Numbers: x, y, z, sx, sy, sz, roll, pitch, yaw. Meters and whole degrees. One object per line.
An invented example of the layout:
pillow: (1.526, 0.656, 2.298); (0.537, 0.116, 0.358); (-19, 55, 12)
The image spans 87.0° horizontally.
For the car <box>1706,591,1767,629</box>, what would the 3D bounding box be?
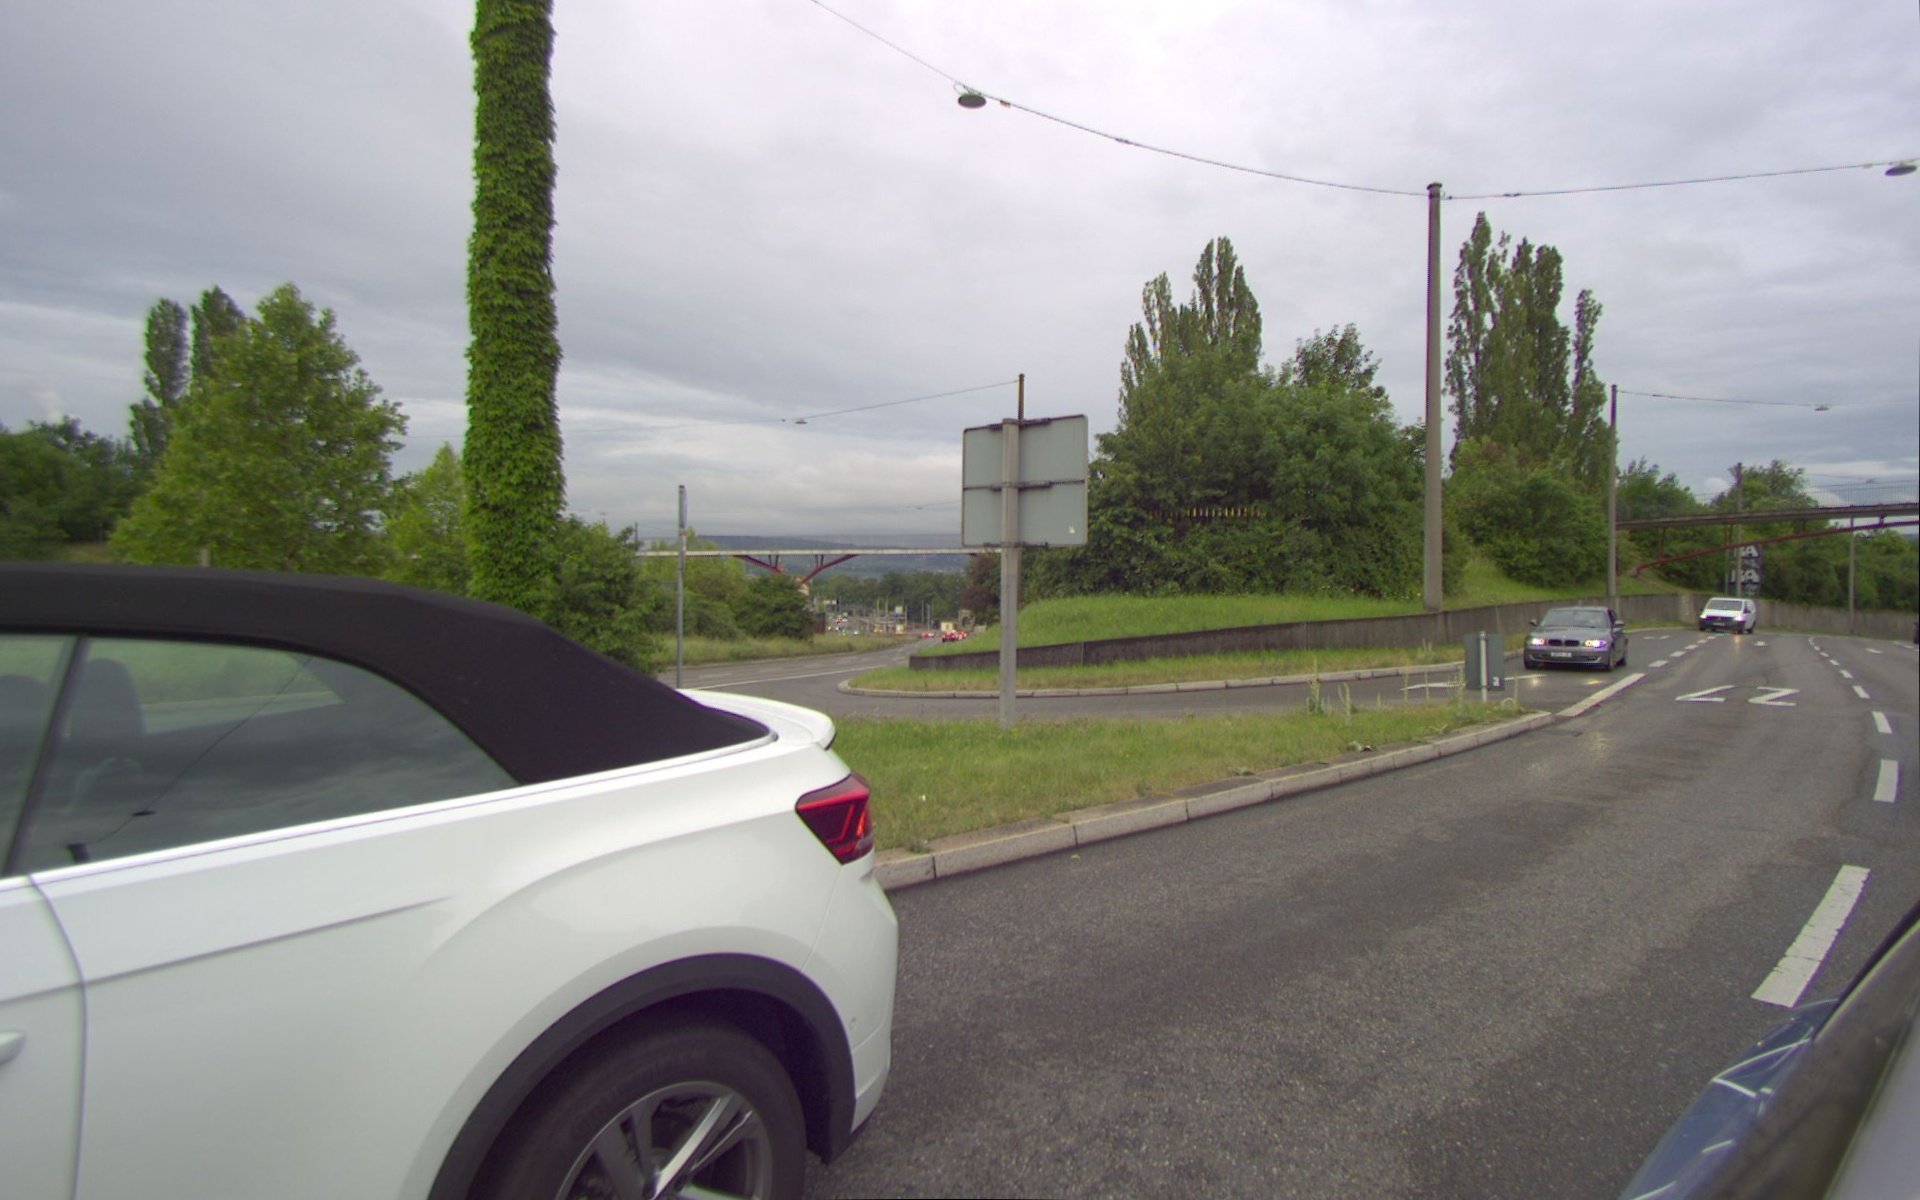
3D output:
car: (41.650, 0.490, 54.251); (1.995, 1.871, 4.746); (3, 3, 45)

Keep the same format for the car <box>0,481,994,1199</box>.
car: (-2.010, 0.643, 1.599); (4.159, 1.572, 1.715); (-1, 1, -43)

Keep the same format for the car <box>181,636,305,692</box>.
car: (-29.666, 2.597, 42.022); (1.968, 2.039, 3.988); (0, 0, 10)

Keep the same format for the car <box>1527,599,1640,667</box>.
car: (14.453, 0.728, 23.369); (1.677, 1.438, 4.022); (-1, -1, 40)
